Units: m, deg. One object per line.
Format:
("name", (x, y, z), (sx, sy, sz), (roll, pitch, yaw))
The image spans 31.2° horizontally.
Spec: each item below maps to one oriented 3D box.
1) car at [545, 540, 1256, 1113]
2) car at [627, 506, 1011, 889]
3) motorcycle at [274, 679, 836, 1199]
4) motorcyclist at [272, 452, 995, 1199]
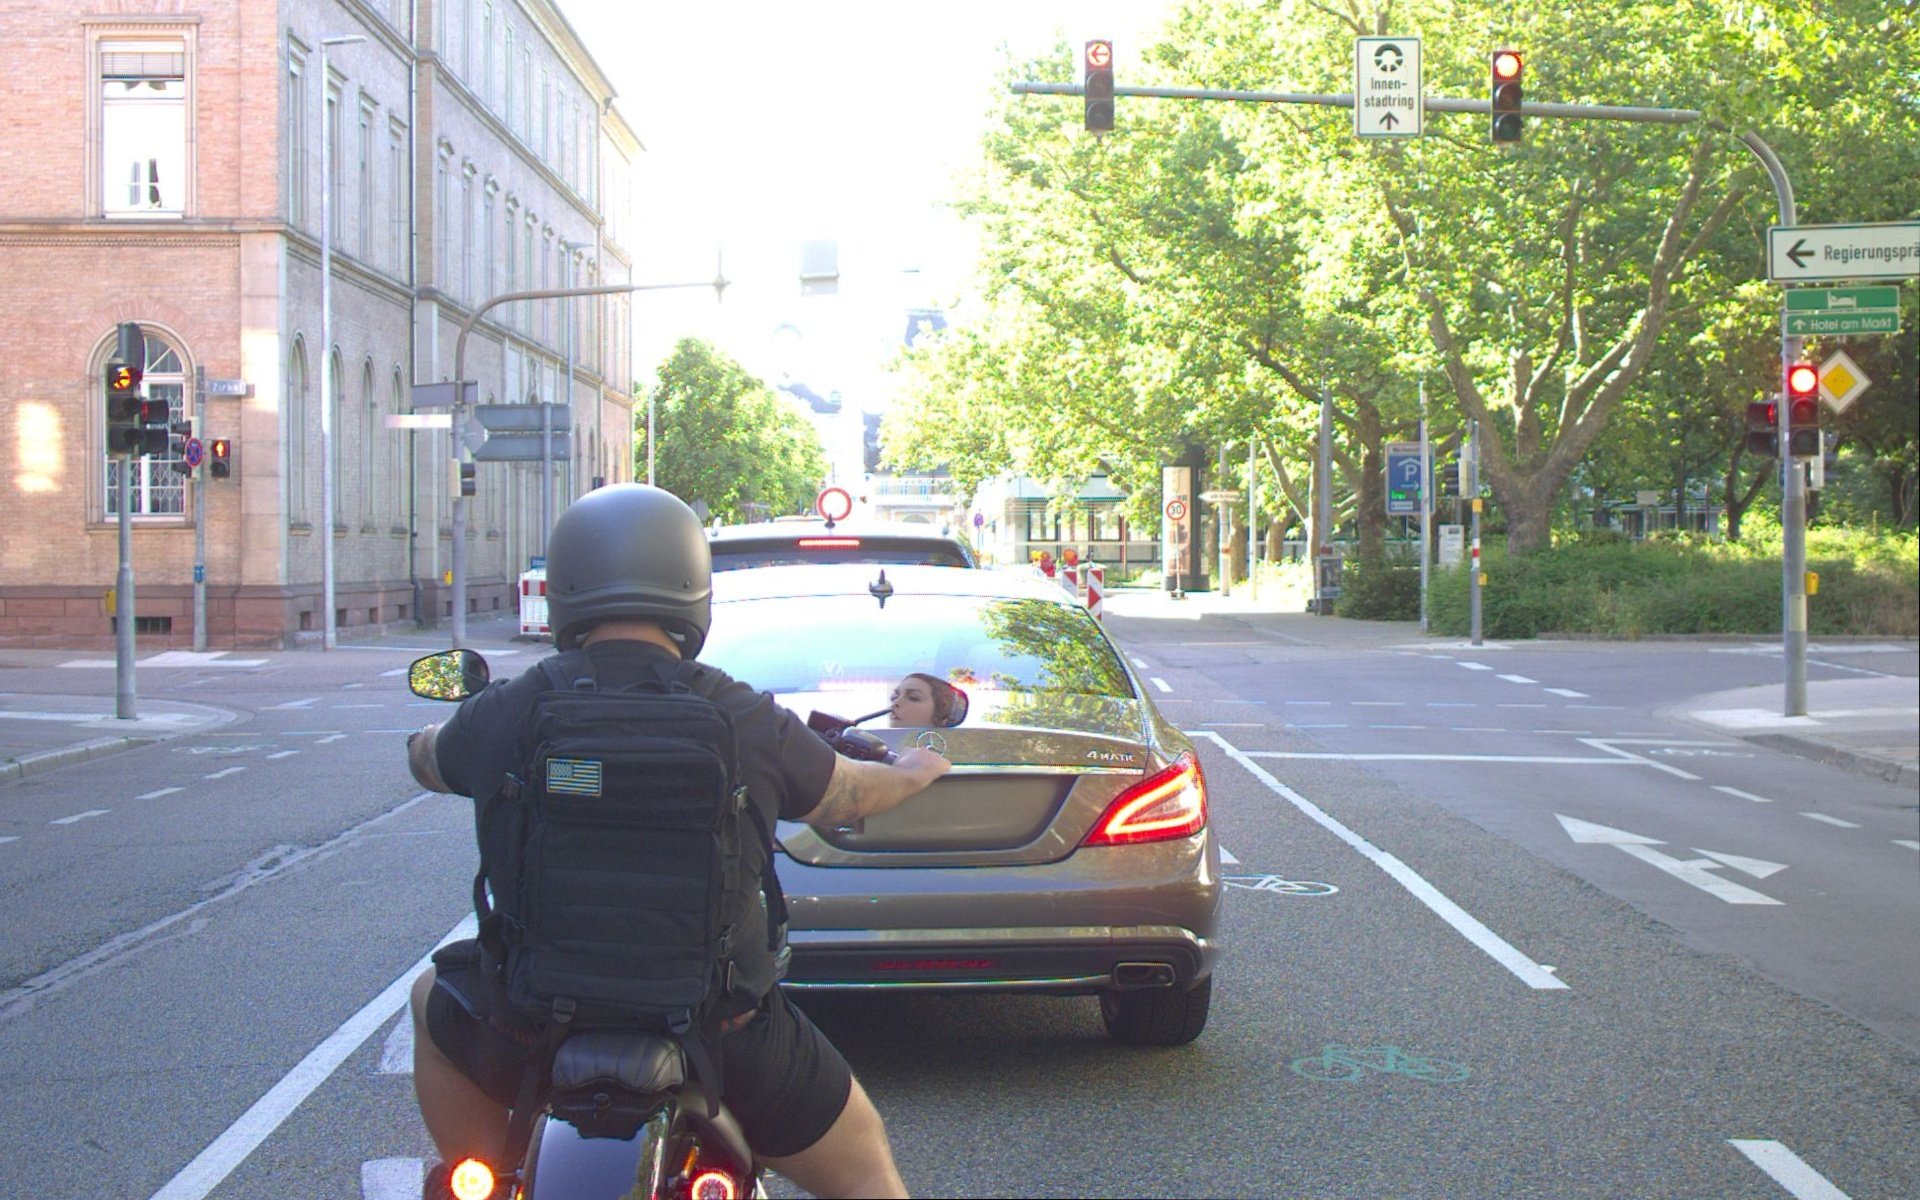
("car", (-0.404, 0.570, 11.135), (1.824, 1.481, 4.334), (1, 1, -7))
("car", (-0.635, 0.406, 16.980), (1.651, 1.646, 4.000), (1, 1, -1))
("motorcycle", (-0.560, 0.781, 5.430), (0.660, 1.236, 2.058), (1, 1, -1))
("motorcyclist", (-0.463, 0.598, 5.335), (0.990, 1.605, 1.120), (1, 0, -1))
